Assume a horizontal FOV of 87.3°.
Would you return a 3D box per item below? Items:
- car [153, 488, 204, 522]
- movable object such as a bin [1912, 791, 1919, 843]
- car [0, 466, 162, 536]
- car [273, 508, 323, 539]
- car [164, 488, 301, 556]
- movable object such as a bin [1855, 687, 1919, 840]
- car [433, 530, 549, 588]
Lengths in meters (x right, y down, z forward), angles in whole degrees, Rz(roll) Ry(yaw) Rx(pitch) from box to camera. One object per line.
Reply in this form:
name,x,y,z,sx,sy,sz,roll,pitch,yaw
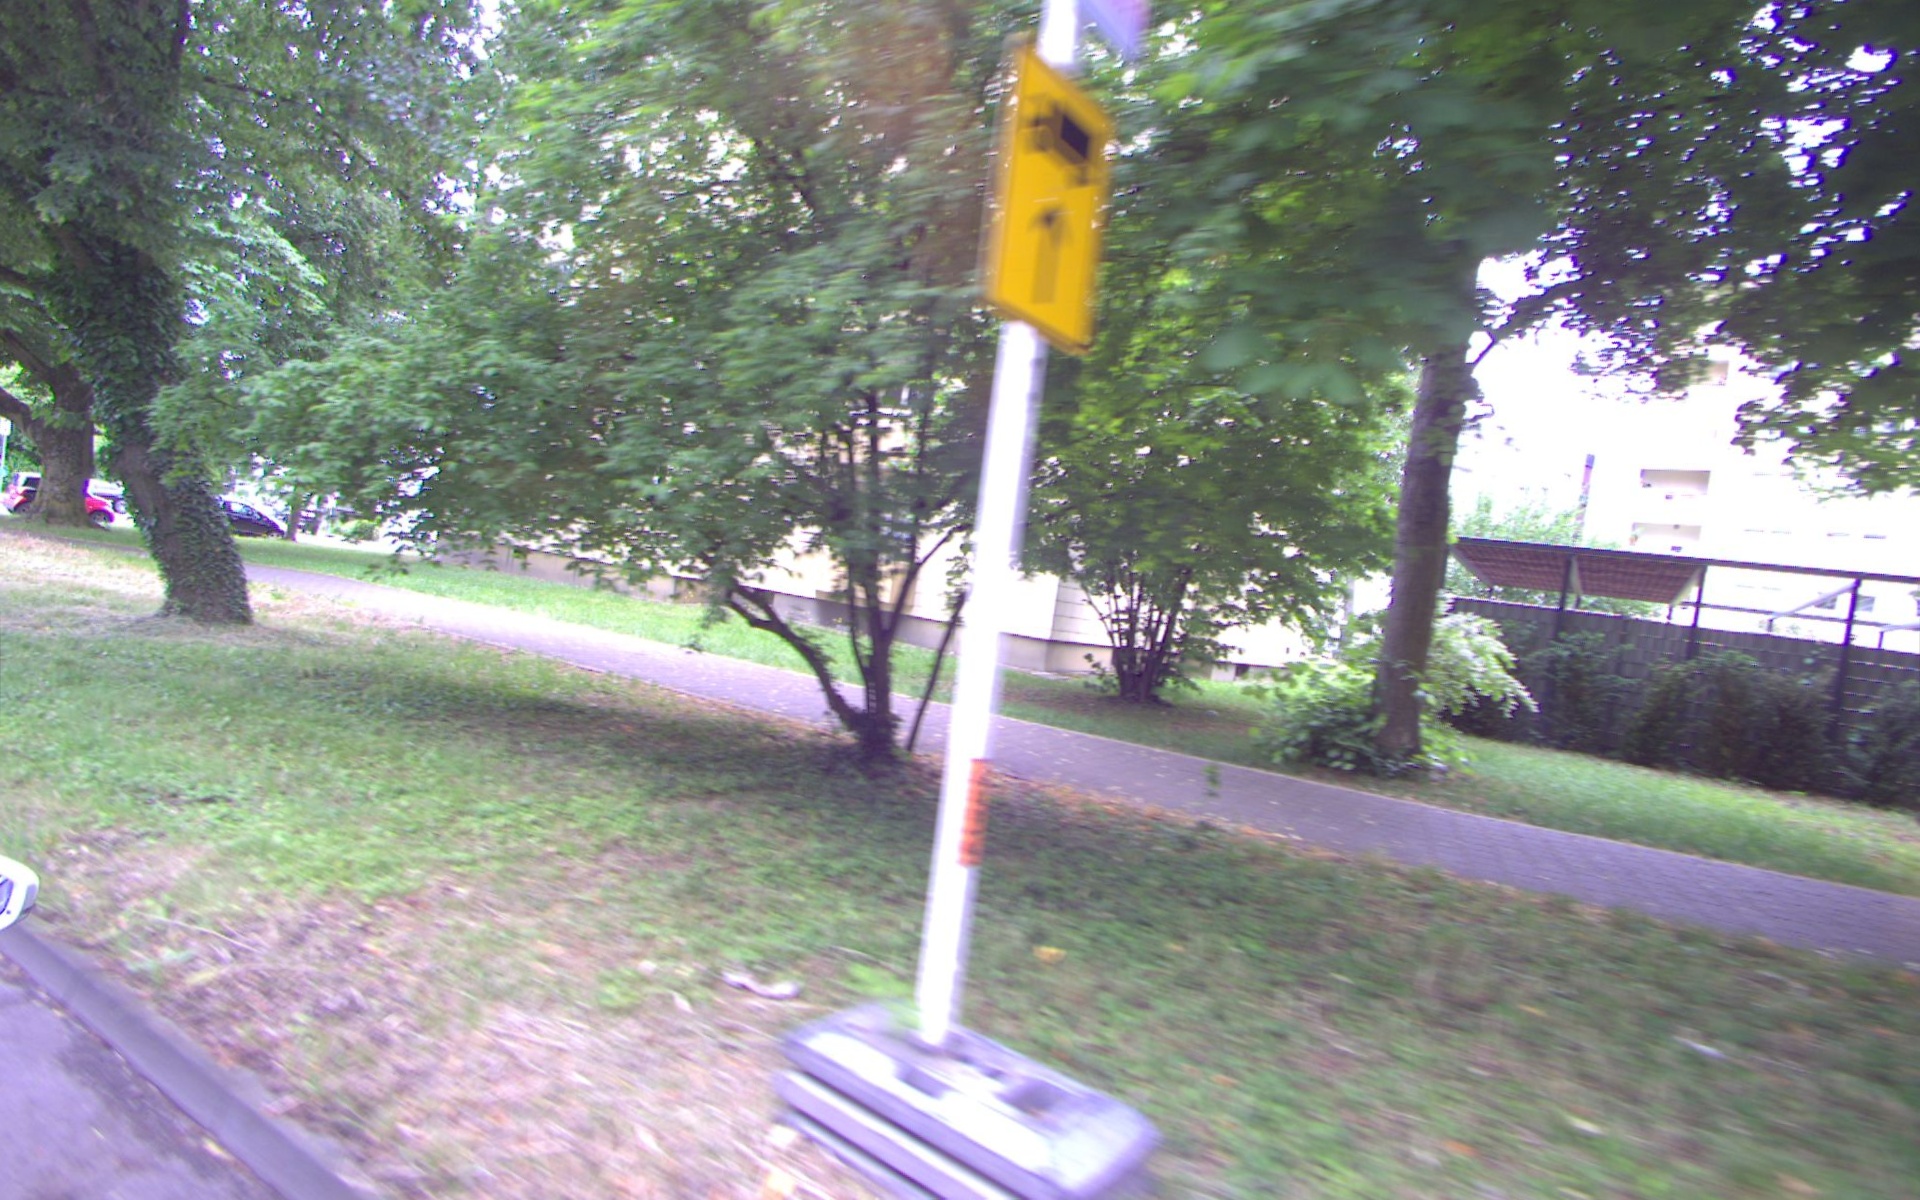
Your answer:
car,-42.238,-5.118,54.458,1.783,1.529,3.963,6,1,-34
movable object such as a bin,10.186,1.766,9.437,1.291,1.521,1.329,8,2,25
car,-30.845,-3.445,35.368,1.773,1.576,3.985,12,1,40
car,-40.936,-4.733,62.146,2.074,1.529,3.955,6,1,-40
car,-27.676,-2.958,38.373,3.970,1.747,1.780,10,2,-38
movable object such as a bin,10.777,1.816,10.769,1.291,1.521,1.329,8,2,25
car,-19.616,-1.710,42.245,3.940,1.764,1.793,9,1,-15
